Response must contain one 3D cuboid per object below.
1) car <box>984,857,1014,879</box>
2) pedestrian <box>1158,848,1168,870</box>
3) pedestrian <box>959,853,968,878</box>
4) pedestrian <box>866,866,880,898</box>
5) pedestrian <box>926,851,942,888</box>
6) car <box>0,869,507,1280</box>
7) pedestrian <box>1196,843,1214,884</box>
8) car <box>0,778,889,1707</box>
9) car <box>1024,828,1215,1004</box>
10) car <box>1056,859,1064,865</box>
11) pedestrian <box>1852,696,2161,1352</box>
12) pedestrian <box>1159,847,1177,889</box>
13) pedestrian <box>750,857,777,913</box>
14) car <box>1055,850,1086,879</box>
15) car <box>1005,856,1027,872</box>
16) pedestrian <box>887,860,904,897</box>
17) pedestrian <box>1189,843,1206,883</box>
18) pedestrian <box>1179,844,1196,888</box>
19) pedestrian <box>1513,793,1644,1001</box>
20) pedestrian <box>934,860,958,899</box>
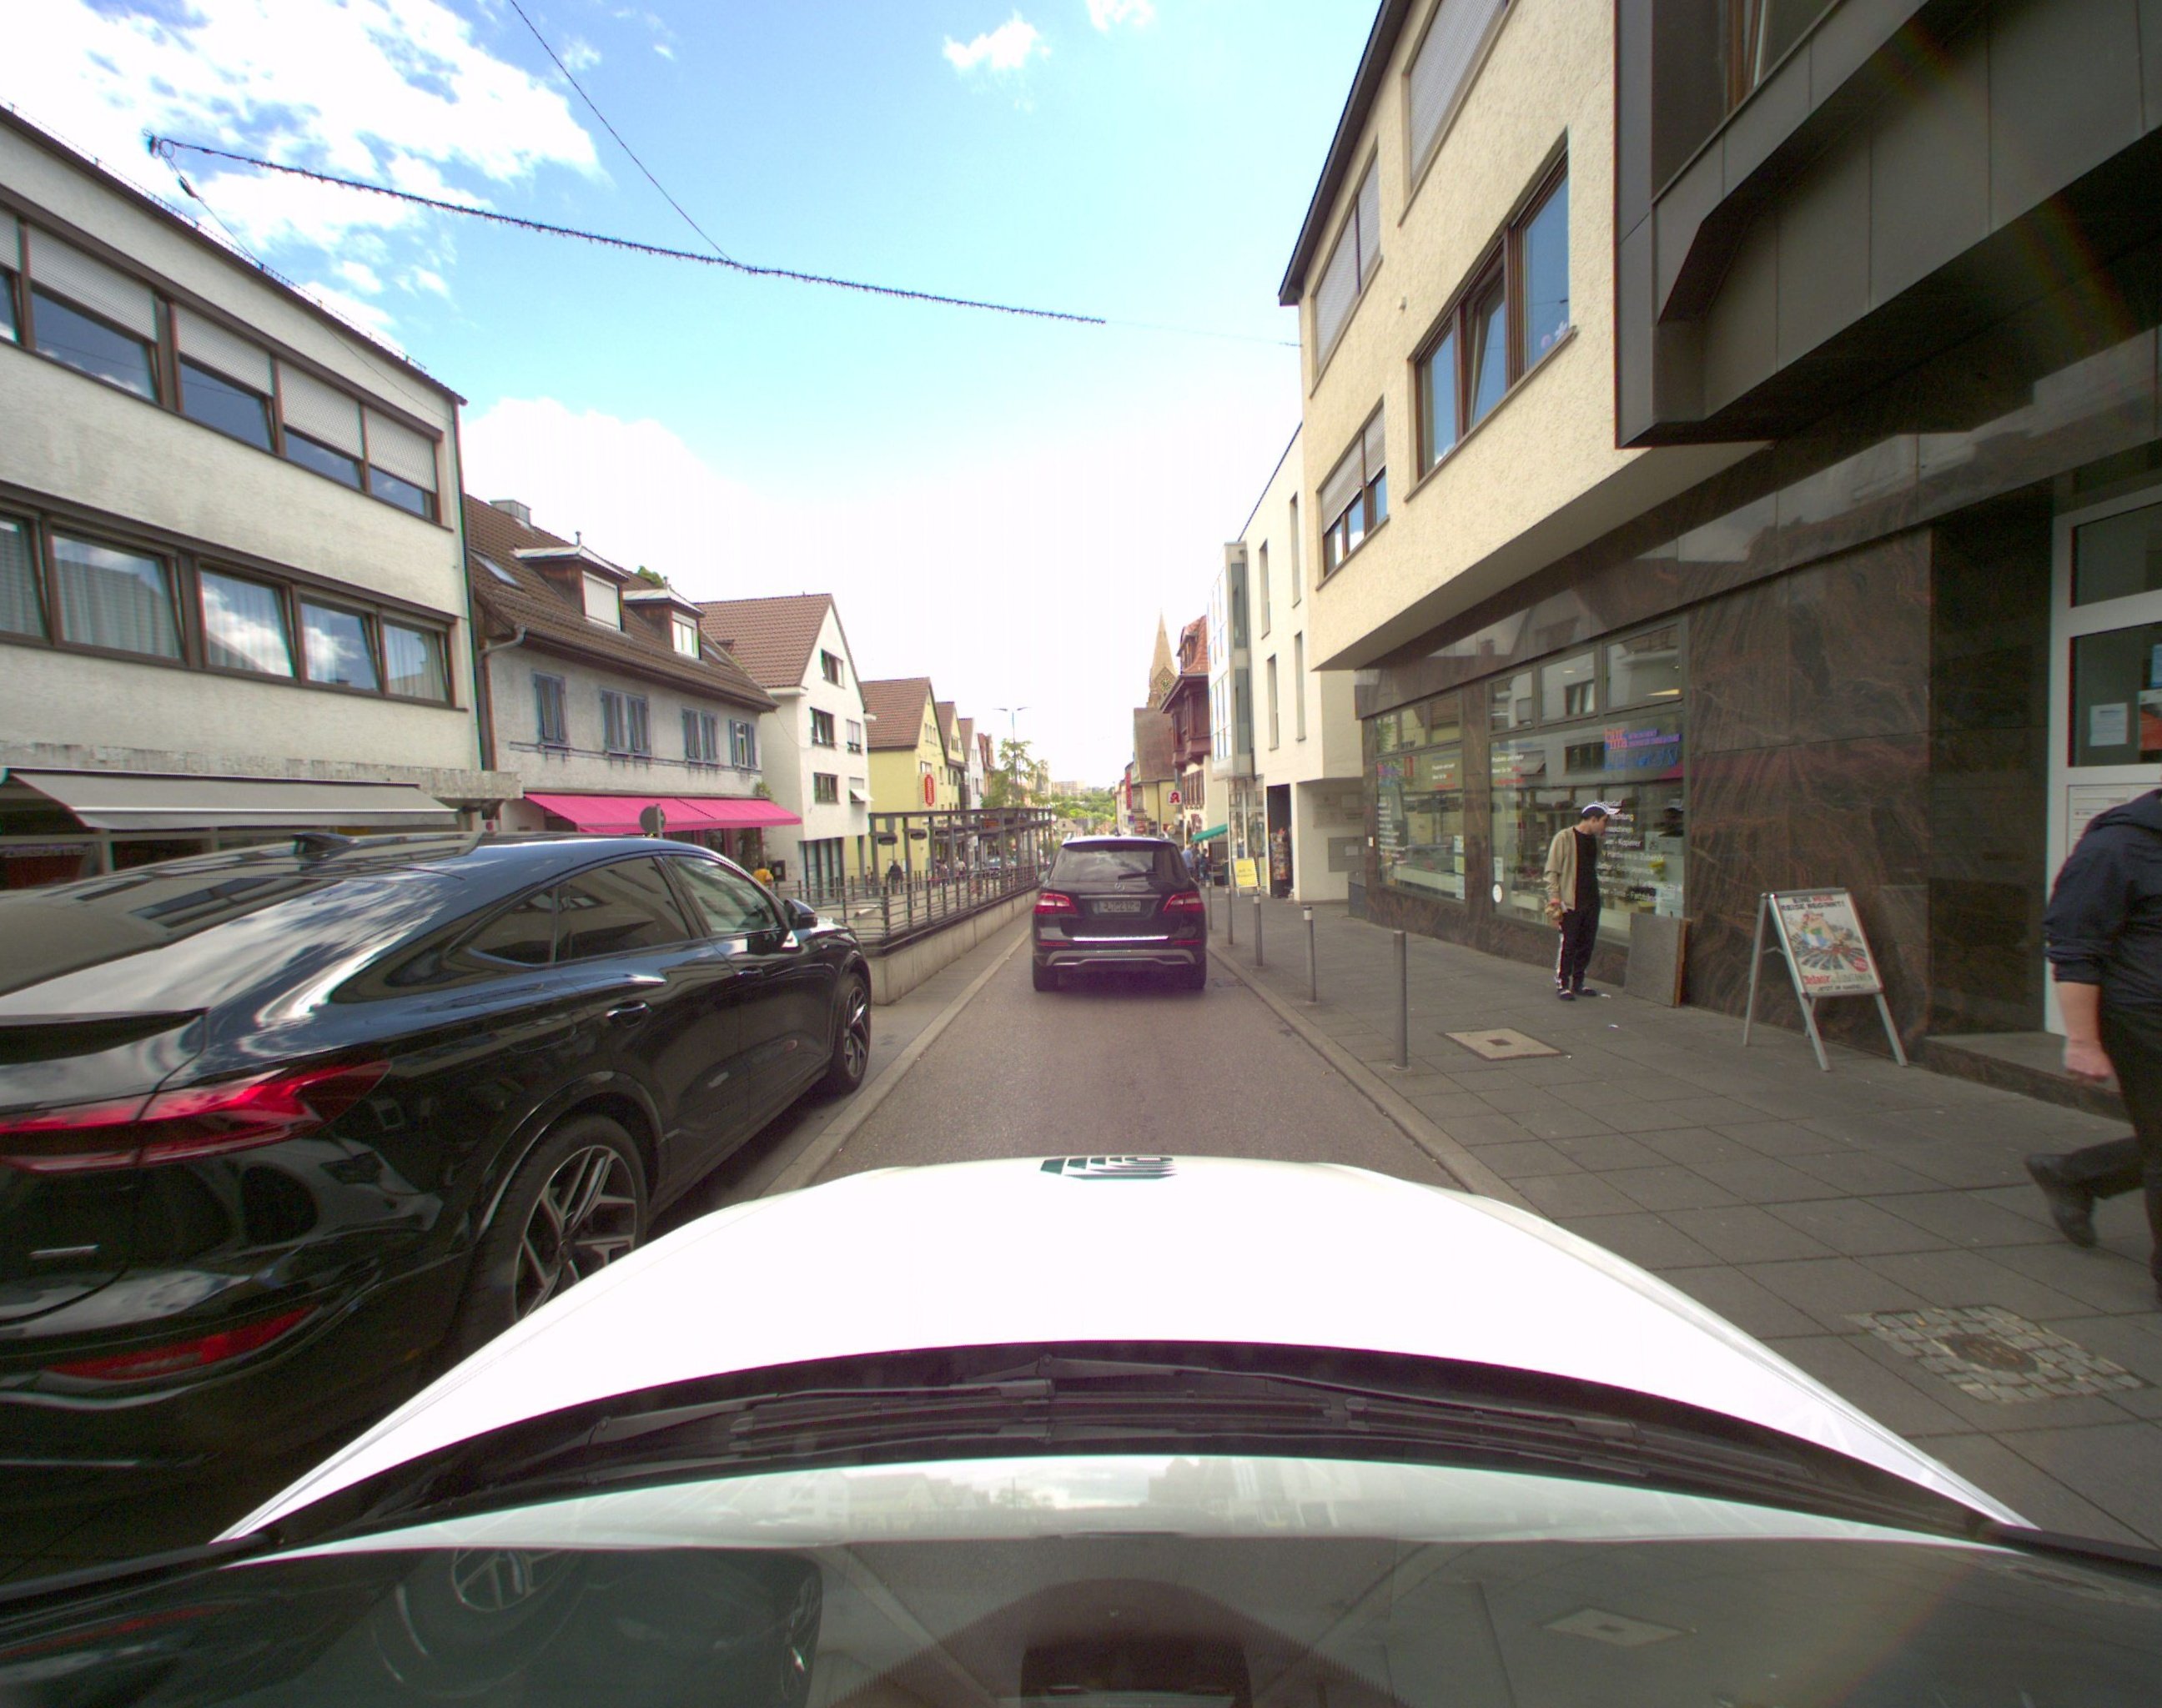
[{"bbox_3d":[-5.981,1.010,59.579,1.683,1.490,3.980,0,0,2],"label":"car"},{"bbox_3d":[6.272,0.378,62.251,0.604,1.688,0.724,-3,0,1],"label":"pedestrian"},{"bbox_3d":[-8.077,0.769,55.976,0.511,1.689,0.541,0,0,0],"label":"pedestrian"},{"bbox_3d":[-9.406,1.244,36.850,0.454,1.421,0.534,-1,0,4],"label":"pedestrian"},{"bbox_3d":[-6.873,0.715,38.116,0.623,1.689,0.679,0,0,1],"label":"pedestrian"},{"bbox_3d":[-4.925,0.888,3.750,1.733,1.475,3.883,-3,0,0],"label":"car"},{"bbox_3d":[5.204,0.386,34.097,0.572,1.689,0.565,-2,0,-5],"label":"pedestrian"},{"bbox_3d":[-2.351,0.698,3.579,1.950,1.639,4.314,-1,0,0],"label":"car"},{"bbox_3d":[0.378,0.617,10.142,1.895,1.747,3.999,0,0,0],"label":"car"},{"bbox_3d":[-4.438,1.695,173.181,1.383,1.070,3.114,-3,0,2],"label":"car"},{"bbox_3d":[3.203,0.434,2.556,0.708,1.753,0.787,-4,0,1],"label":"pedestrian"},{"bbox_3d":[3.532,0.555,33.230,0.620,1.689,0.565,0,0,-5],"label":"pedestrian"},{"bbox_3d":[-9.719,0.931,24.927,0.576,1.689,0.577,0,0,0],"label":"pedestrian"},{"bbox_3d":[-0.597,0.615,49.291,1.764,1.713,4.001,0,0,1],"label":"car"},{"bbox_3d":[-6.131,0.940,76.830,1.654,1.490,3.749,0,0,2],"label":"car"},{"bbox_3d":[-8.557,1.110,37.616,0.609,1.689,0.564,-1,0,4],"label":"pedestrian"},{"bbox_3d":[5.019,0.387,35.085,0.572,1.689,0.565,-2,0,-5],"label":"pedestrian"},{"bbox_3d":[4.288,0.488,32.817,0.541,1.726,0.527,-3,0,-5],"label":"pedestrian"},{"bbox_3d":[4.339,0.360,7.138,0.662,1.689,0.542,-6,0,-5],"label":"pedestrian"},{"bbox_3d":[-5.848,1.092,35.204,0.771,1.689,0.720,0,0,-34],"label":"pedestrian"}]
